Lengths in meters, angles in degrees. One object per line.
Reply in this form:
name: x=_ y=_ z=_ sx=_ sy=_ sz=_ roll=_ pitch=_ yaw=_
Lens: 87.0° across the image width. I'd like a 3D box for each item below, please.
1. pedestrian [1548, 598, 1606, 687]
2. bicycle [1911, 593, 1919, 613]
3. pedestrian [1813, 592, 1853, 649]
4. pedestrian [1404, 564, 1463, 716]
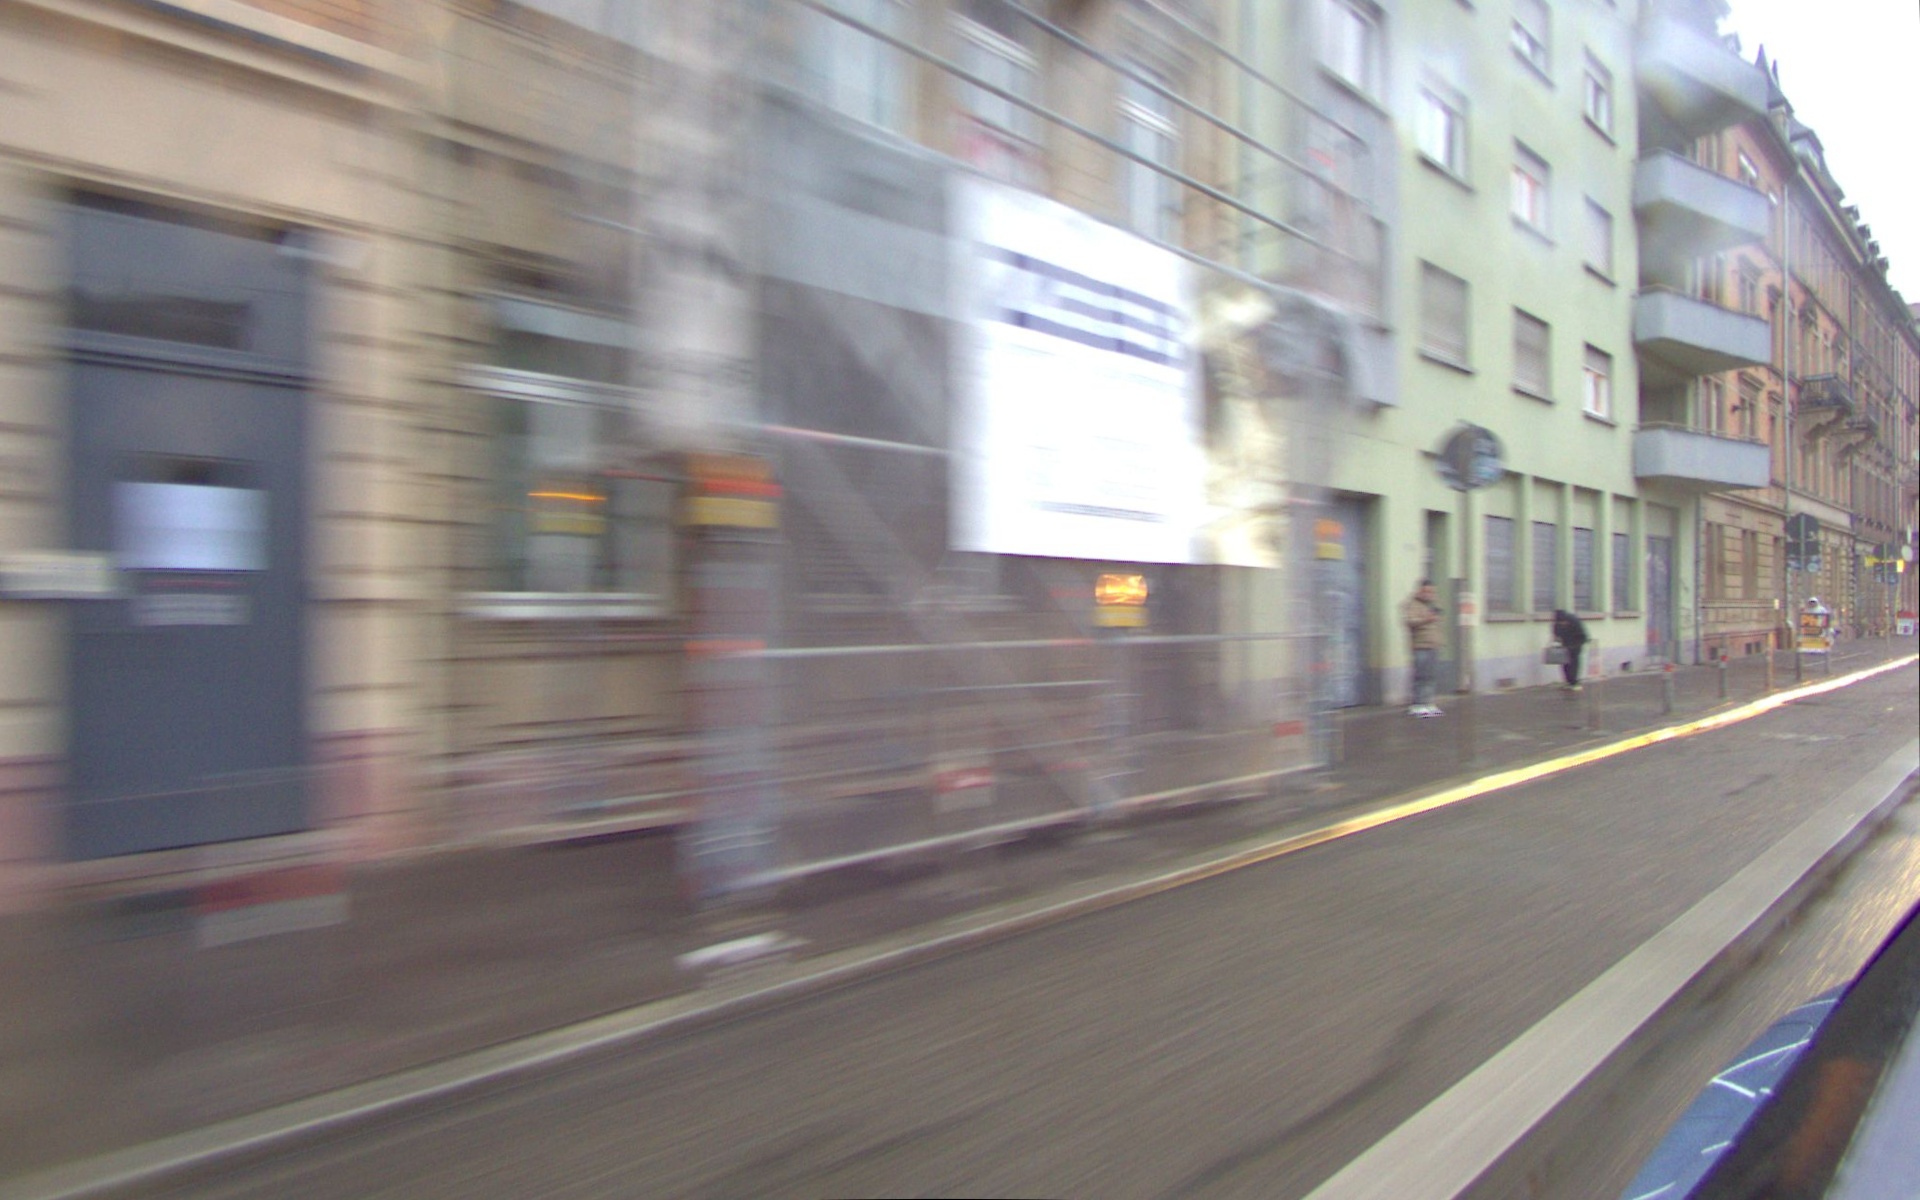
pedestrian: x=10.044 y=0.670 z=16.465 sx=0.716 sy=1.394 sz=0.601 roll=0 pitch=-1 yaw=-41
bicycle: x=44.919 y=0.120 z=47.371 sx=1.834 sy=0.922 sz=0.398 roll=0 pitch=0 yaw=-41
pedestrian: x=25.195 y=0.567 z=29.218 sx=0.729 sy=1.617 sz=0.787 roll=0 pitch=0 yaw=-42
pedestrian: x=5.953 y=0.488 z=12.754 sx=0.593 sy=1.841 sz=0.770 roll=-1 pitch=-1 yaw=22
